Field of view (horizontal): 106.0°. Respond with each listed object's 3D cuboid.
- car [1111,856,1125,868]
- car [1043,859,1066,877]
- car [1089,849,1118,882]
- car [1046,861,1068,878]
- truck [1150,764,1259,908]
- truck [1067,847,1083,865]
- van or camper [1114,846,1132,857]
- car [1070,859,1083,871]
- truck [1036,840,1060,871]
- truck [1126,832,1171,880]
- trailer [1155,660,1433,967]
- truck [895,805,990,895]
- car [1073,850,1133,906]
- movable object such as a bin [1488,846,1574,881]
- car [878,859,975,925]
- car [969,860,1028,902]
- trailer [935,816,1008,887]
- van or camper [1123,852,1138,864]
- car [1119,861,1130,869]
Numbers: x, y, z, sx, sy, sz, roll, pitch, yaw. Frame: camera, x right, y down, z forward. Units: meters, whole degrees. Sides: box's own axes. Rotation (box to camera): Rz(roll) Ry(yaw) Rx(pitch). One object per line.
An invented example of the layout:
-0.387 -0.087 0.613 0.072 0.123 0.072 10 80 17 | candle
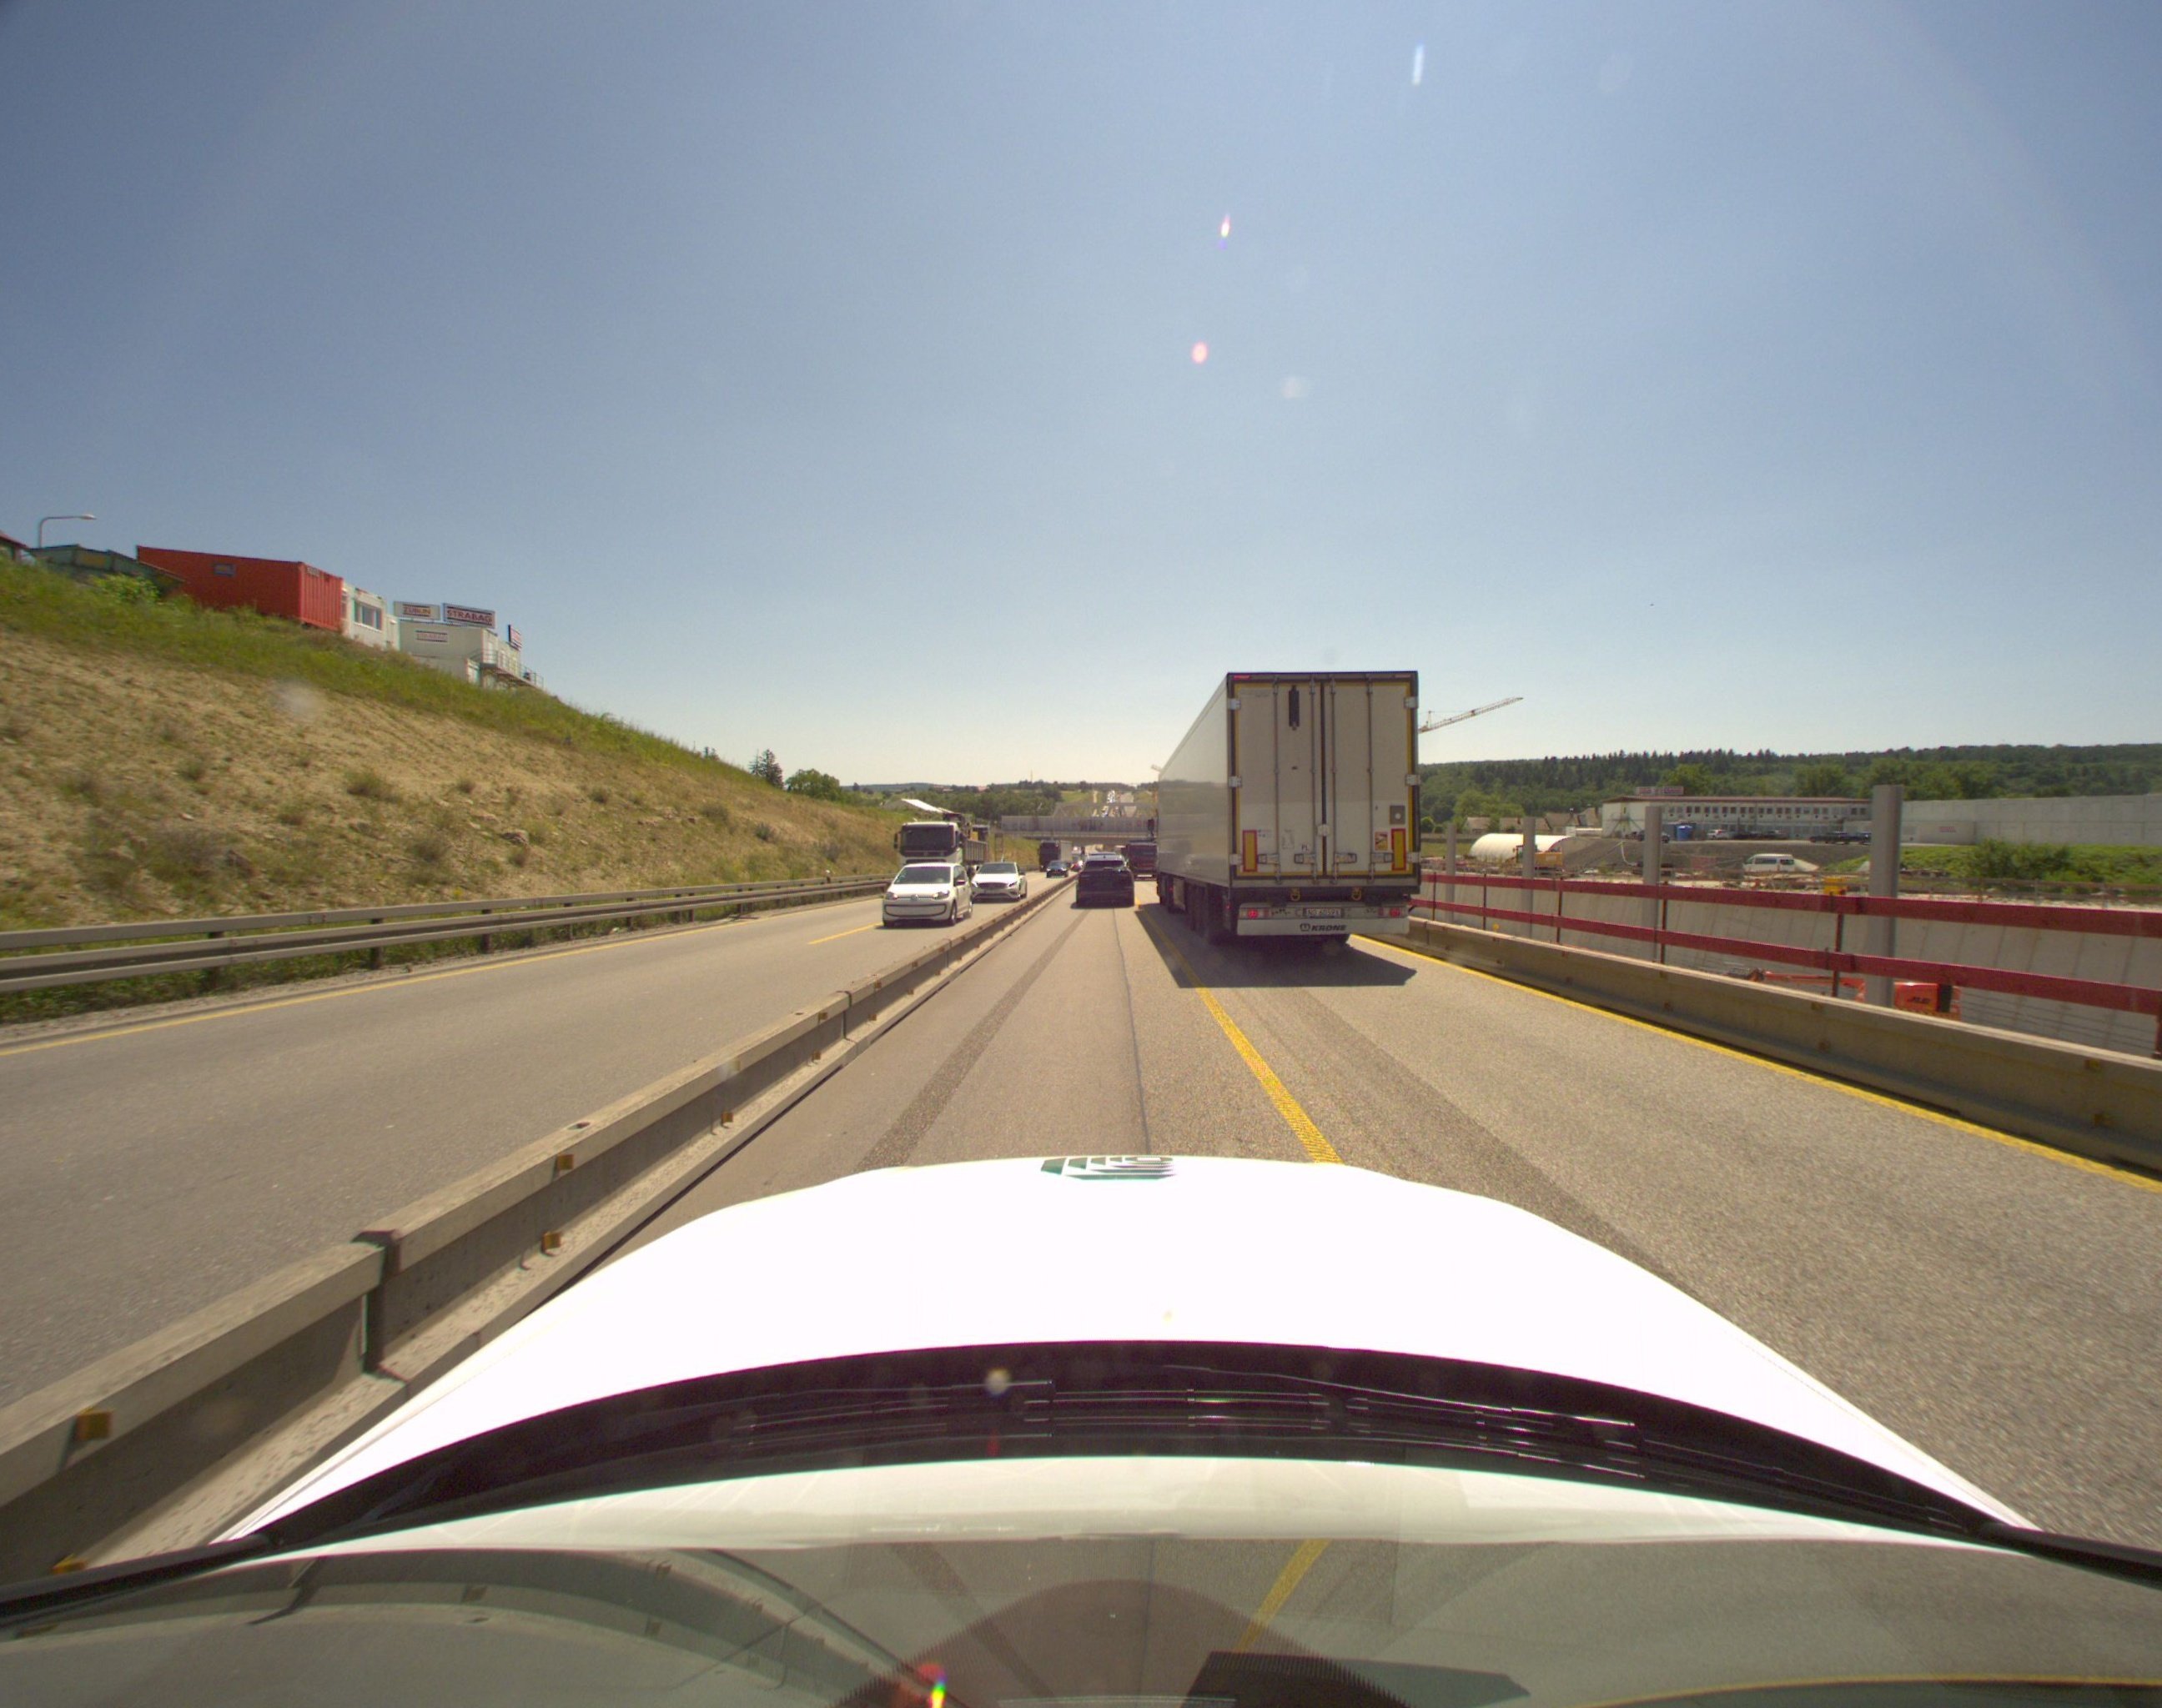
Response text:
4.484 0.980 99.221 1.486 1.330 3.244 1 0 0 | car
-2.150 1.125 67.567 1.679 1.430 3.850 -1 0 1 | car
1.304 0.645 46.495 1.469 1.795 3.300 -2 0 3 | car
-1.957 1.276 68.329 1.683 1.403 3.686 -1 0 0 | car
3.725 -0.488 25.663 2.766 4.058 4.906 -1 -1 2 | truck
-0.865 0.330 129.502 2.259 2.882 5.853 -1 -1 2 | truck
13.101 -0.677 255.177 3.942 3.419 8.381 0 0 -9 | van or camper
-0.603 1.474 108.404 1.584 1.487 3.296 -1 0 2 | car
-4.183 0.173 103.780 2.757 3.884 4.966 0 0 2 | truck
4.835 0.150 60.334 2.803 3.135 12.845 -1 0 2 | truck
3.468 -0.491 17.904 2.791 4.058 14.121 -1 0 2 | trailer
-6.268 -0.155 38.531 2.577 3.723 9.335 -1 0 2 | truck
0.712 0.721 26.048 1.794 1.620 3.299 -1 0 2 | car
40.199 0.826 73.174 2.876 2.909 9.485 0 0 2 | movable object such as a bin
-3.660 0.865 19.820 1.679 1.430 3.293 -1 0 1 | car
-2.978 0.938 30.161 1.679 1.430 4.122 -1 0 1 | car
-6.030 -0.107 46.331 2.577 3.637 9.081 -1 0 2 | trailer
13.436 1.054 220.152 3.924 3.419 8.419 0 0 5 | van or camper
7.147 1.799 134.329 1.533 1.206 3.310 -1 0 0 | car
